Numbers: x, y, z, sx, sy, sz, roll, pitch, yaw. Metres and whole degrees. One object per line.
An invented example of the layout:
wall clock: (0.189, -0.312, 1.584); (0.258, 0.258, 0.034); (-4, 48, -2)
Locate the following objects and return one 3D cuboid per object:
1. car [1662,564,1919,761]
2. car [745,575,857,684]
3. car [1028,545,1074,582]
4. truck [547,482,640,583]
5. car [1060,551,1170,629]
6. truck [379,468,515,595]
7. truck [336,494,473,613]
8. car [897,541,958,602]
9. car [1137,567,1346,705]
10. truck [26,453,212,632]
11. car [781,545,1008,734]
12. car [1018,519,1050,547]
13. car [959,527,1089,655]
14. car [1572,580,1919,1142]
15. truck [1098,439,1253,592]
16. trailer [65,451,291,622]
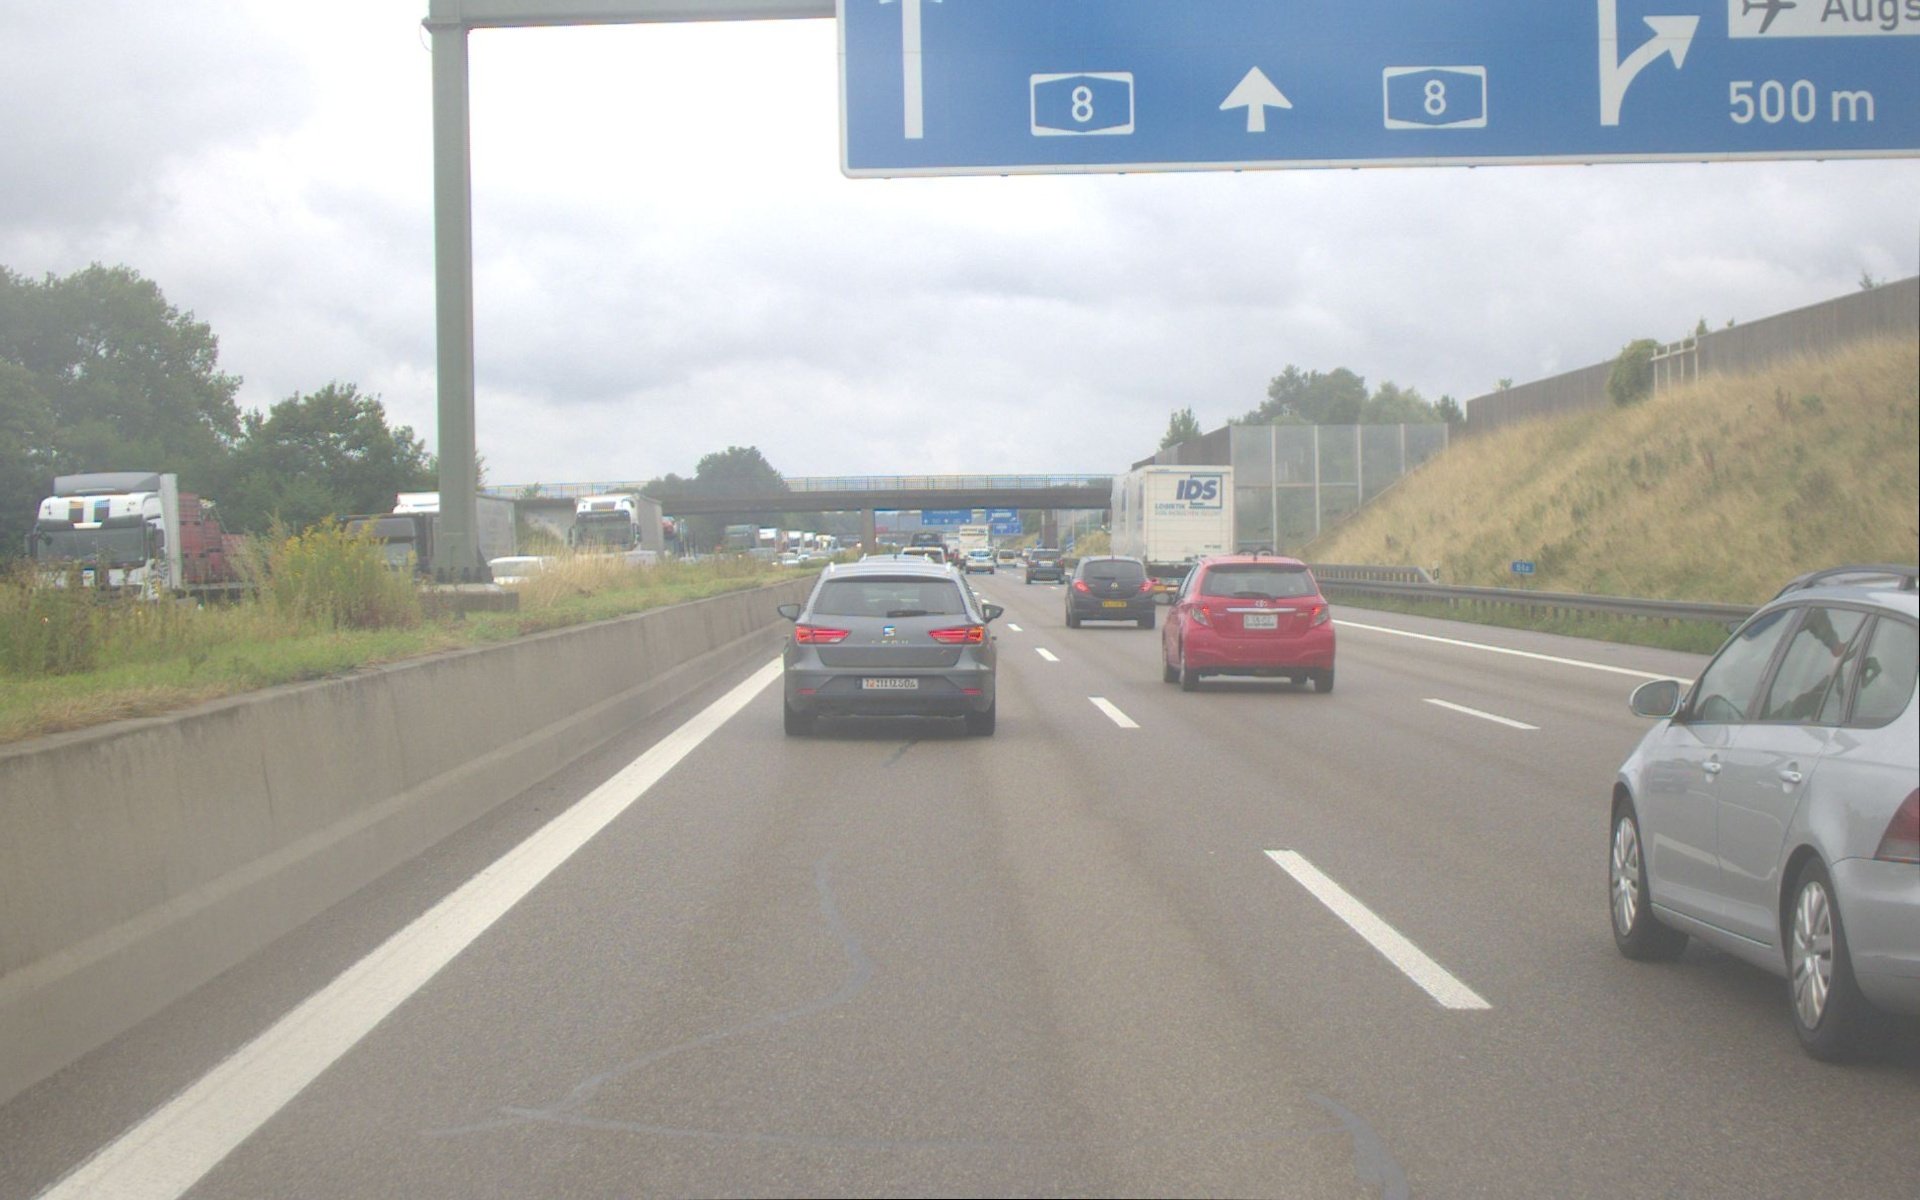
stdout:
car: (6.704, 0.438, 26.496); (1.702, 1.396, 3.875); (1, 0, -1)
car: (-2.648, 0.459, 57.851); (1.754, 1.744, 4.000); (1, 0, -1)
car: (4.157, -1.671, 157.688); (1.845, 1.681, 4.000); (1, 0, -1)
truck: (-14.896, -2.721, 140.076); (3.092, 3.962, 6.372); (1, 0, 0)
car: (3.110, -0.228, 69.650); (1.921, 1.516, 4.622); (0, 1, -1)
truck: (-17.943, -2.354, 120.734); (3.615, 4.260, 7.592); (1, 0, 0)
truck: (-14.193, -1.173, 88.321); (2.311, 2.898, 7.424); (1, 0, 0)
car: (-1.022, -0.901, 106.596); (1.704, 1.790, 3.855); (-2, 1, -2)
car: (3.157, 0.364, 39.444); (1.891, 1.442, 4.685); (0, 1, -2)
truck: (-18.272, -1.298, 75.014); (2.641, 3.713, 5.872); (1, 2, 0)
car: (-0.585, 0.293, 29.058); (1.768, 1.462, 4.000); (1, 0, -2)
car: (4.867, -4.431, 226.790); (1.993, 1.806, 4.228); (-2, 1, 0)
car: (0.945, -0.163, 52.631); (1.825, 1.844, 4.000); (-1, 1, -1)
car: (3.332, 0.669, 11.266); (1.742, 1.420, 4.517); (-1, 1, -1)
truck: (6.491, -2.466, 107.000); (3.283, 4.280, 19.034); (1, 0, -1)
trailer: (-18.317, -1.592, 81.419); (2.641, 3.713, 12.195); (1, 2, 0)
